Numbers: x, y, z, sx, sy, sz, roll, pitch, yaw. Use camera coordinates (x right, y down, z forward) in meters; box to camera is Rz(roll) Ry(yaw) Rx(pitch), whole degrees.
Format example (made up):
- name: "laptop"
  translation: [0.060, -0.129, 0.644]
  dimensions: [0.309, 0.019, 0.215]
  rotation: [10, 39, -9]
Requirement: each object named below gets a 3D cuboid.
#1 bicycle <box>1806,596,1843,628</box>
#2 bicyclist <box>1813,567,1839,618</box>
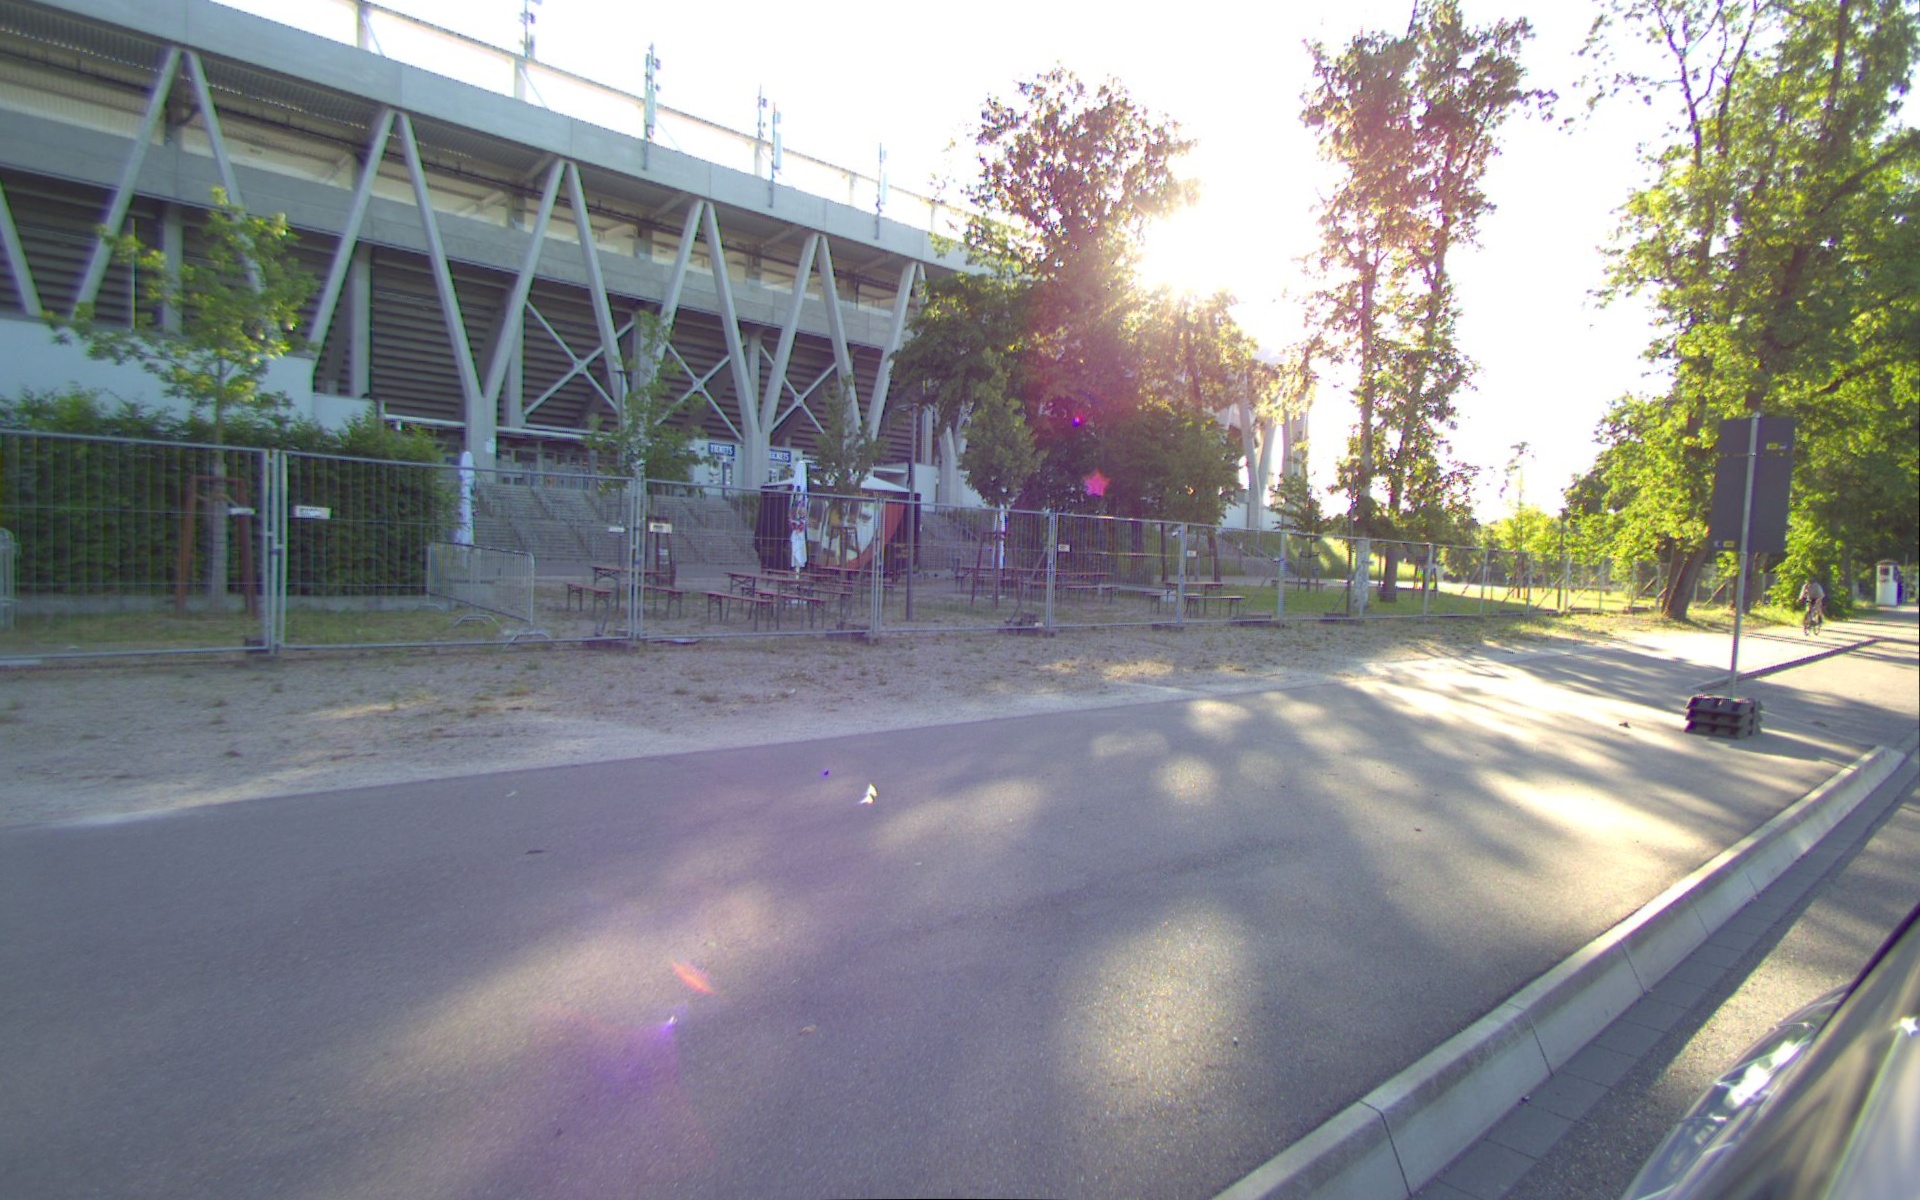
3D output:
- name: "bicycle"
  translation: [24.898, 0.340, 29.137]
  dimensions: [1.876, 0.869, 0.481]
  rotation: [0, 2, -41]
- name: "bicyclist"
  translation: [24.903, -0.226, 29.106]
  dimensions: [0.565, 1.438, 0.451]
  rotation: [0, 2, -41]
